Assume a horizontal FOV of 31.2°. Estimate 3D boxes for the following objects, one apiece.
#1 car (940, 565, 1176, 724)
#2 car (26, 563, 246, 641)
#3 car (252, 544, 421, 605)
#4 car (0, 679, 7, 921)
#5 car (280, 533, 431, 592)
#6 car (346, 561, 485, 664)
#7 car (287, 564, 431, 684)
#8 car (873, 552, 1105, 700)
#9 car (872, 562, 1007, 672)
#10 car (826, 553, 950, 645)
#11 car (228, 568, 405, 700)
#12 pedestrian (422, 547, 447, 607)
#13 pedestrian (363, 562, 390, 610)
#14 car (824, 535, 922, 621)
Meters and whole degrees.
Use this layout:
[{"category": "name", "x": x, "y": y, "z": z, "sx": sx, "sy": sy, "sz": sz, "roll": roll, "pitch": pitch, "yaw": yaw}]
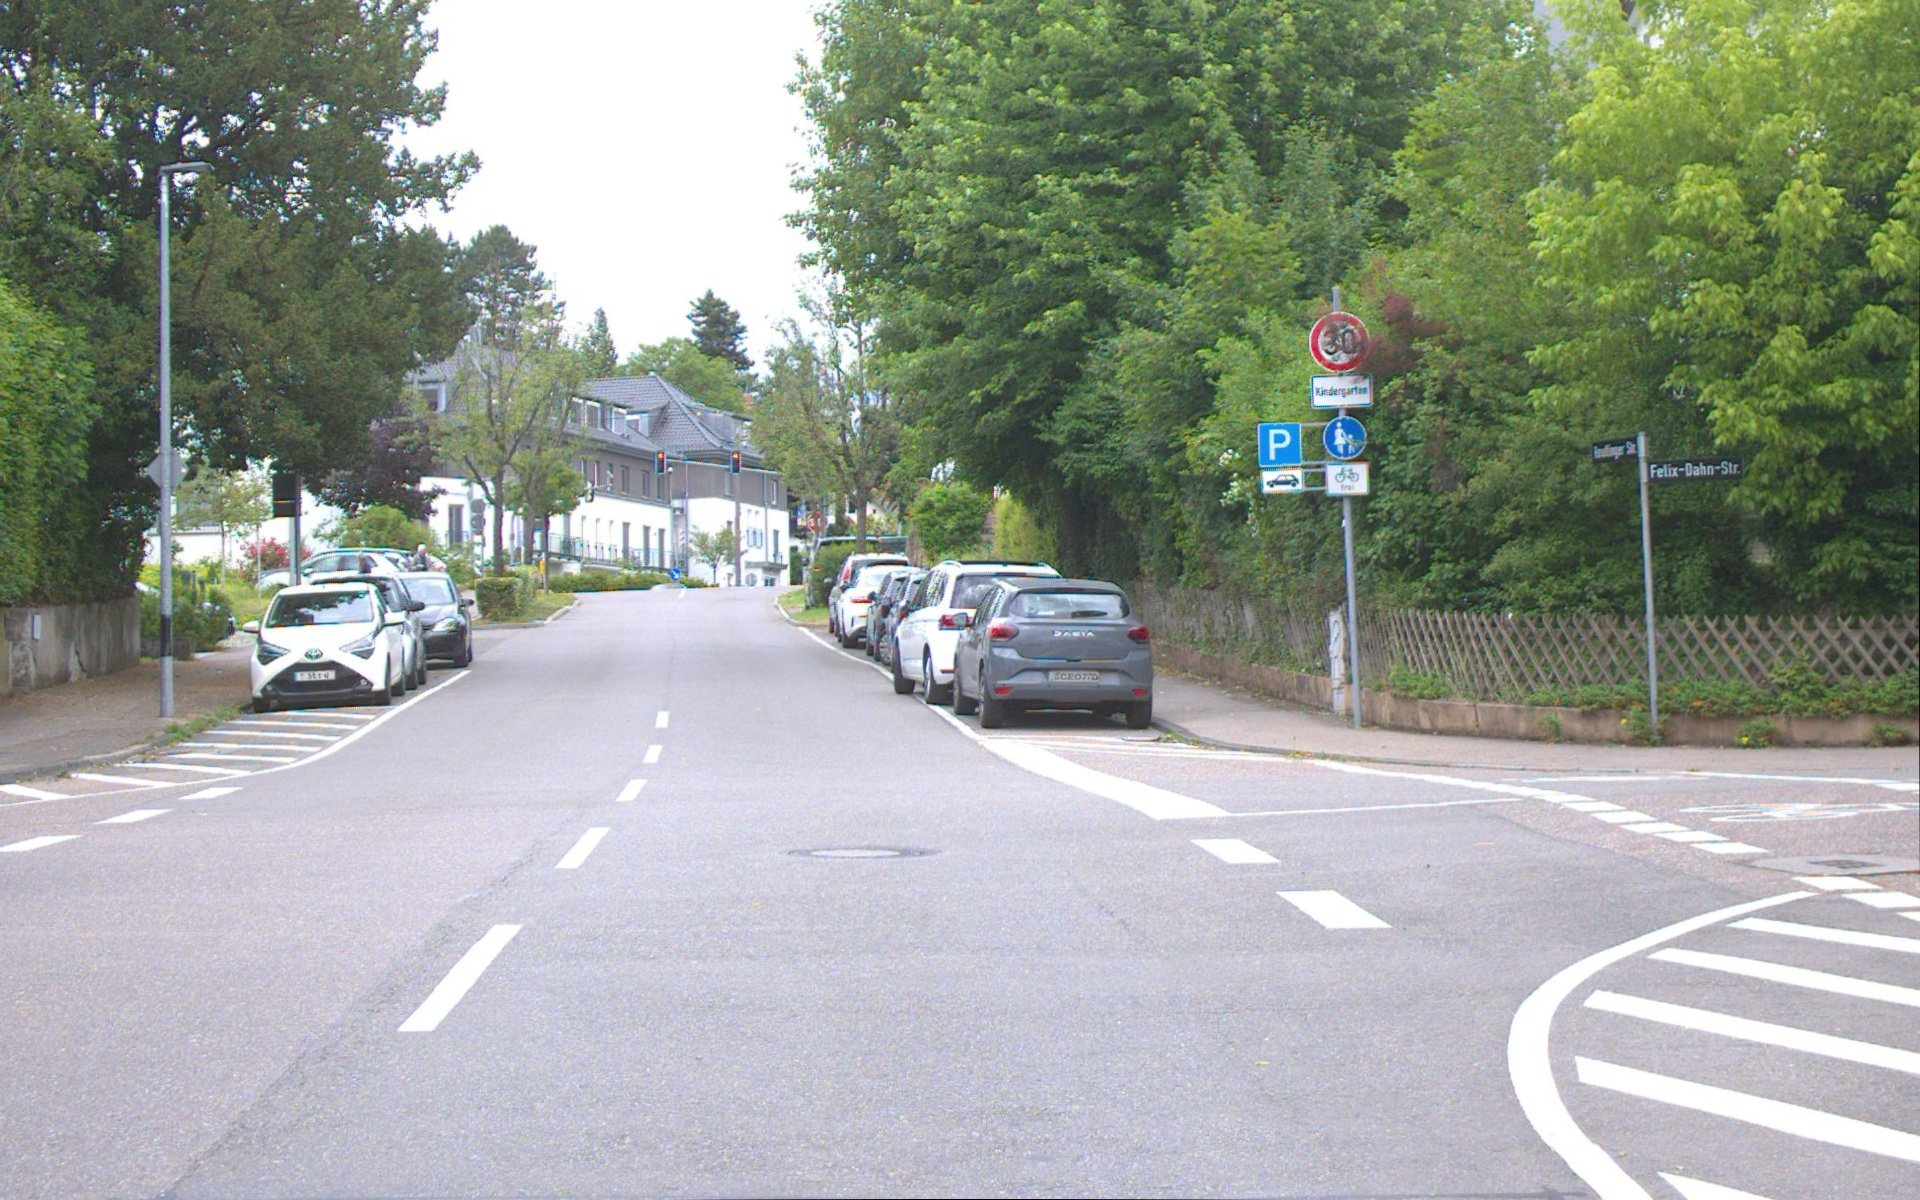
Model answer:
[{"category": "car", "x": 0.968, "y": 0.417, "z": 36.439, "sx": 1.937, "sy": 1.486, "sz": 4.457, "roll": -1, "pitch": 1, "yaw": -5}, {"category": "car", "x": -15.008, "y": 0.030, "z": 62.776, "sx": 3.793, "sy": 1.349, "sz": 1.742, "roll": -1, "pitch": 1, "yaw": -10}, {"category": "car", "x": -17.114, "y": -0.725, "z": 94.579, "sx": 4.385, "sy": 1.561, "sz": 2.067, "roll": -1, "pitch": 1, "yaw": -5}, {"category": "car", "x": -7.414, "y": 0.159, "z": 14.835, "sx": 6.122, "sy": 2.592, "sz": 2.369, "roll": -2, "pitch": 1, "yaw": -20}, {"category": "car", "x": -17.074, "y": -1.057, "z": 97.227, "sx": 3.986, "sy": 1.648, "sz": 2.009, "roll": 0, "pitch": 1, "yaw": -3}, {"category": "car", "x": -8.446, "y": 0.157, "z": 53.616, "sx": 1.850, "sy": 1.464, "sz": 4.684, "roll": -1, "pitch": 1, "yaw": -6}, {"category": "car", "x": -7.916, "y": 0.298, "z": 45.490, "sx": 1.623, "sy": 1.513, "sz": 2.976, "roll": -1, "pitch": 0, "yaw": -5}, {"category": "car", "x": 0.272, "y": 0.260, "z": 41.345, "sx": 2.000, "sy": 1.603, "sz": 4.760, "roll": -1, "pitch": 1, "yaw": -9}, {"category": "car", "x": -0.340, "y": 0.216, "z": 50.975, "sx": 1.697, "sy": 1.503, "sz": 4.161, "roll": 1, "pitch": 1, "yaw": -4}, {"category": "car", "x": -1.335, "y": -0.052, "z": 61.711, "sx": 1.993, "sy": 1.486, "sz": 5.005, "roll": -1, "pitch": 1, "yaw": -4}, {"category": "car", "x": -7.704, "y": 0.377, "z": 41.423, "sx": 1.744, "sy": 1.443, "sz": 3.514, "roll": -1, "pitch": 1, "yaw": -5}, {"category": "pedestrian", "x": -14.345, "y": -0.632, "z": 93.861, "sx": 0.593, "sy": 1.635, "sz": 0.565, "roll": -1, "pitch": 1, "yaw": -3}, {"category": "pedestrian", "x": -15.754, "y": -0.375, "z": 92.815, "sx": 0.607, "sy": 1.279, "sz": 0.900, "roll": 1, "pitch": 1, "yaw": -5}, {"category": "car", "x": -1.745, "y": -0.449, "z": 67.730, "sx": 1.716, "sy": 1.627, "sz": 3.929, "roll": 1, "pitch": 1, "yaw": -4}]
